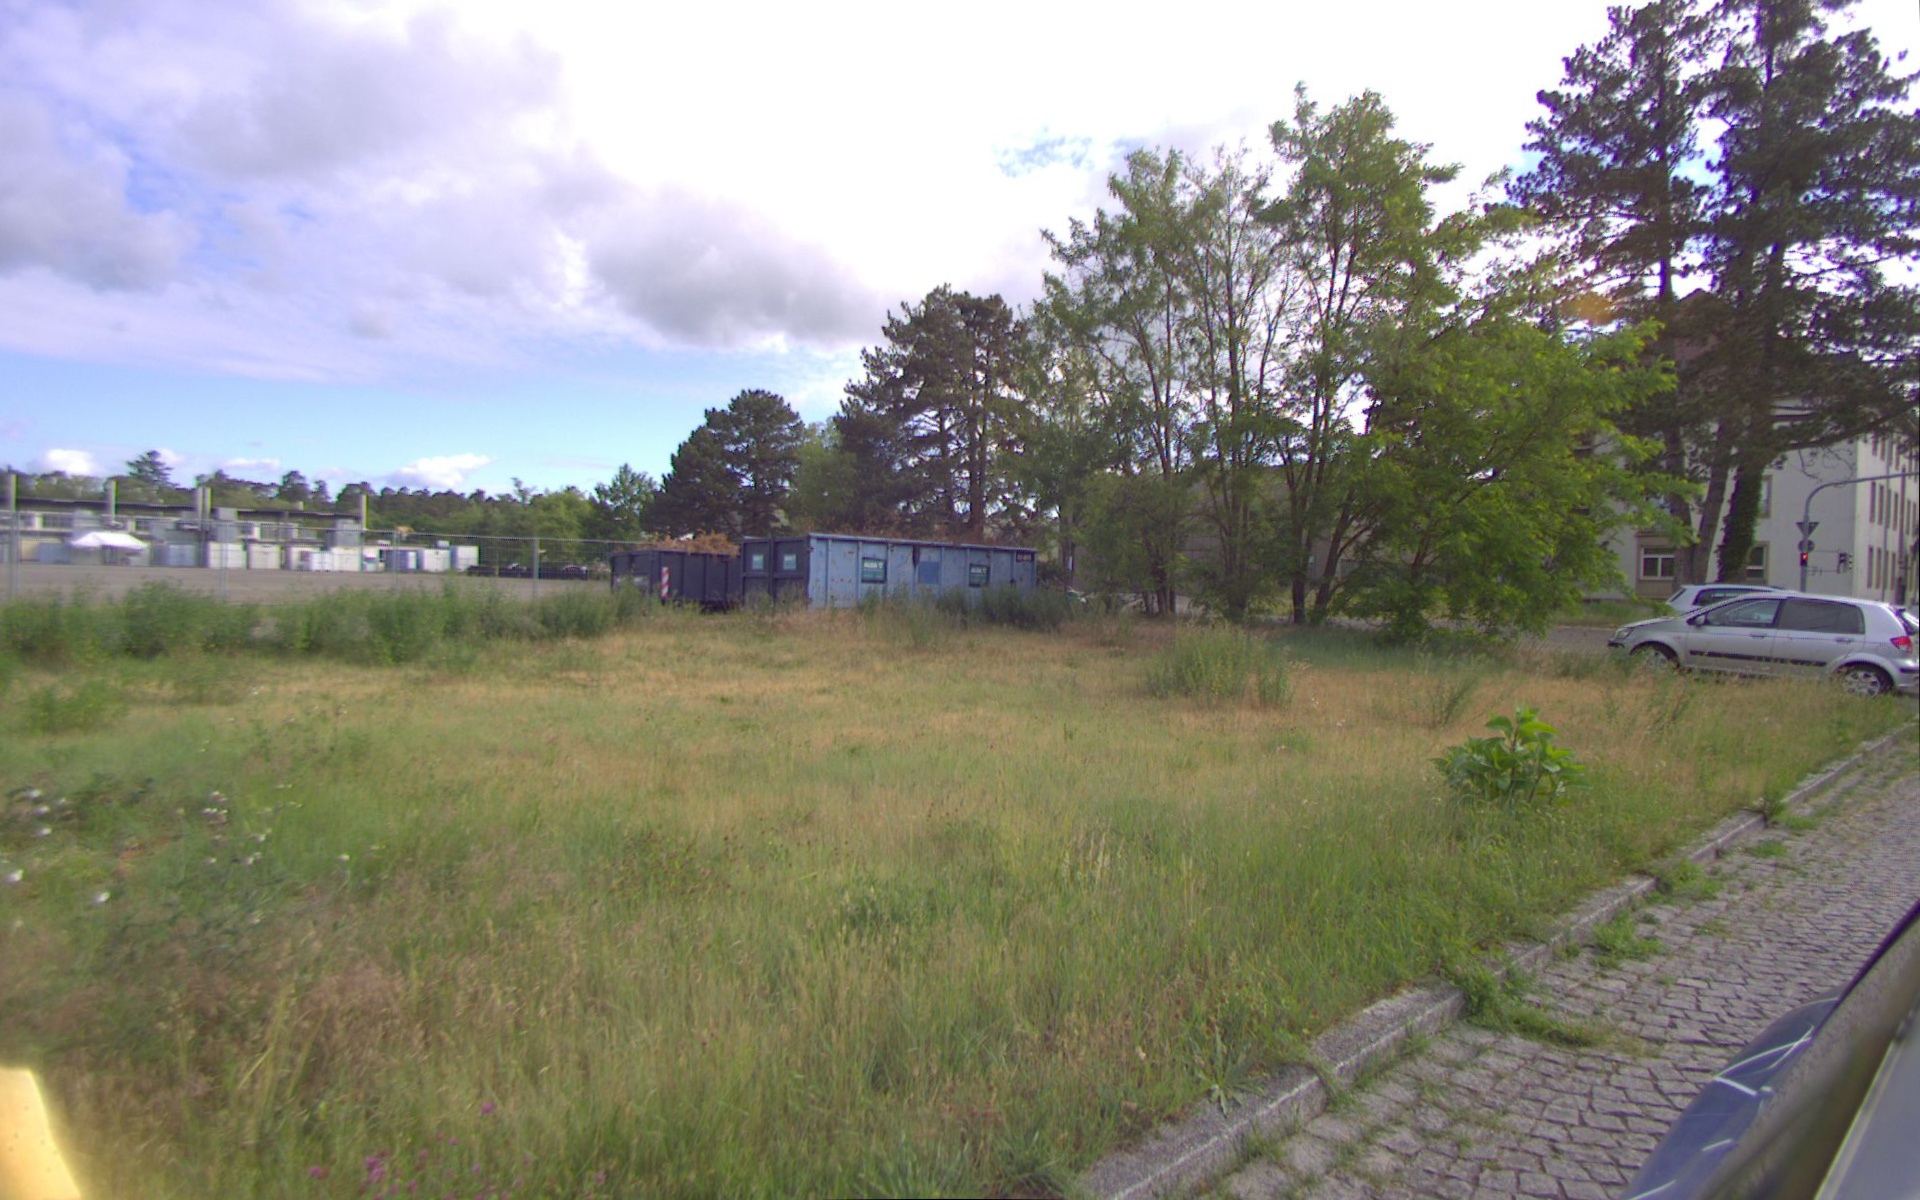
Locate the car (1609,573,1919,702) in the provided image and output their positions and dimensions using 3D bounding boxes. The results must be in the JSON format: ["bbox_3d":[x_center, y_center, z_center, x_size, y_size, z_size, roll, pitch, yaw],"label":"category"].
[{"bbox_3d":[12.279,0.482,15.289,1.713,1.497,3.779,1,4,-43],"label":"car"}]

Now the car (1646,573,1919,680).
[{"bbox_3d":[15.859,0.424,19.260,1.798,1.593,4.333,-1,5,-45],"label":"car"}]

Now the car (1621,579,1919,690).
[{"bbox_3d":[14.104,0.520,17.243,1.765,1.423,4.376,1,4,-42],"label":"car"}]

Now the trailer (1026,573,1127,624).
[{"bbox_3d":[2.836,-0.053,24.777,1.124,1.184,2.316,-1,1,-41],"label":"trailer"}]

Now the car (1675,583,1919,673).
[{"bbox_3d":[17.771,0.520,20.919,1.796,1.442,4.557,-1,5,-43],"label":"car"}]
